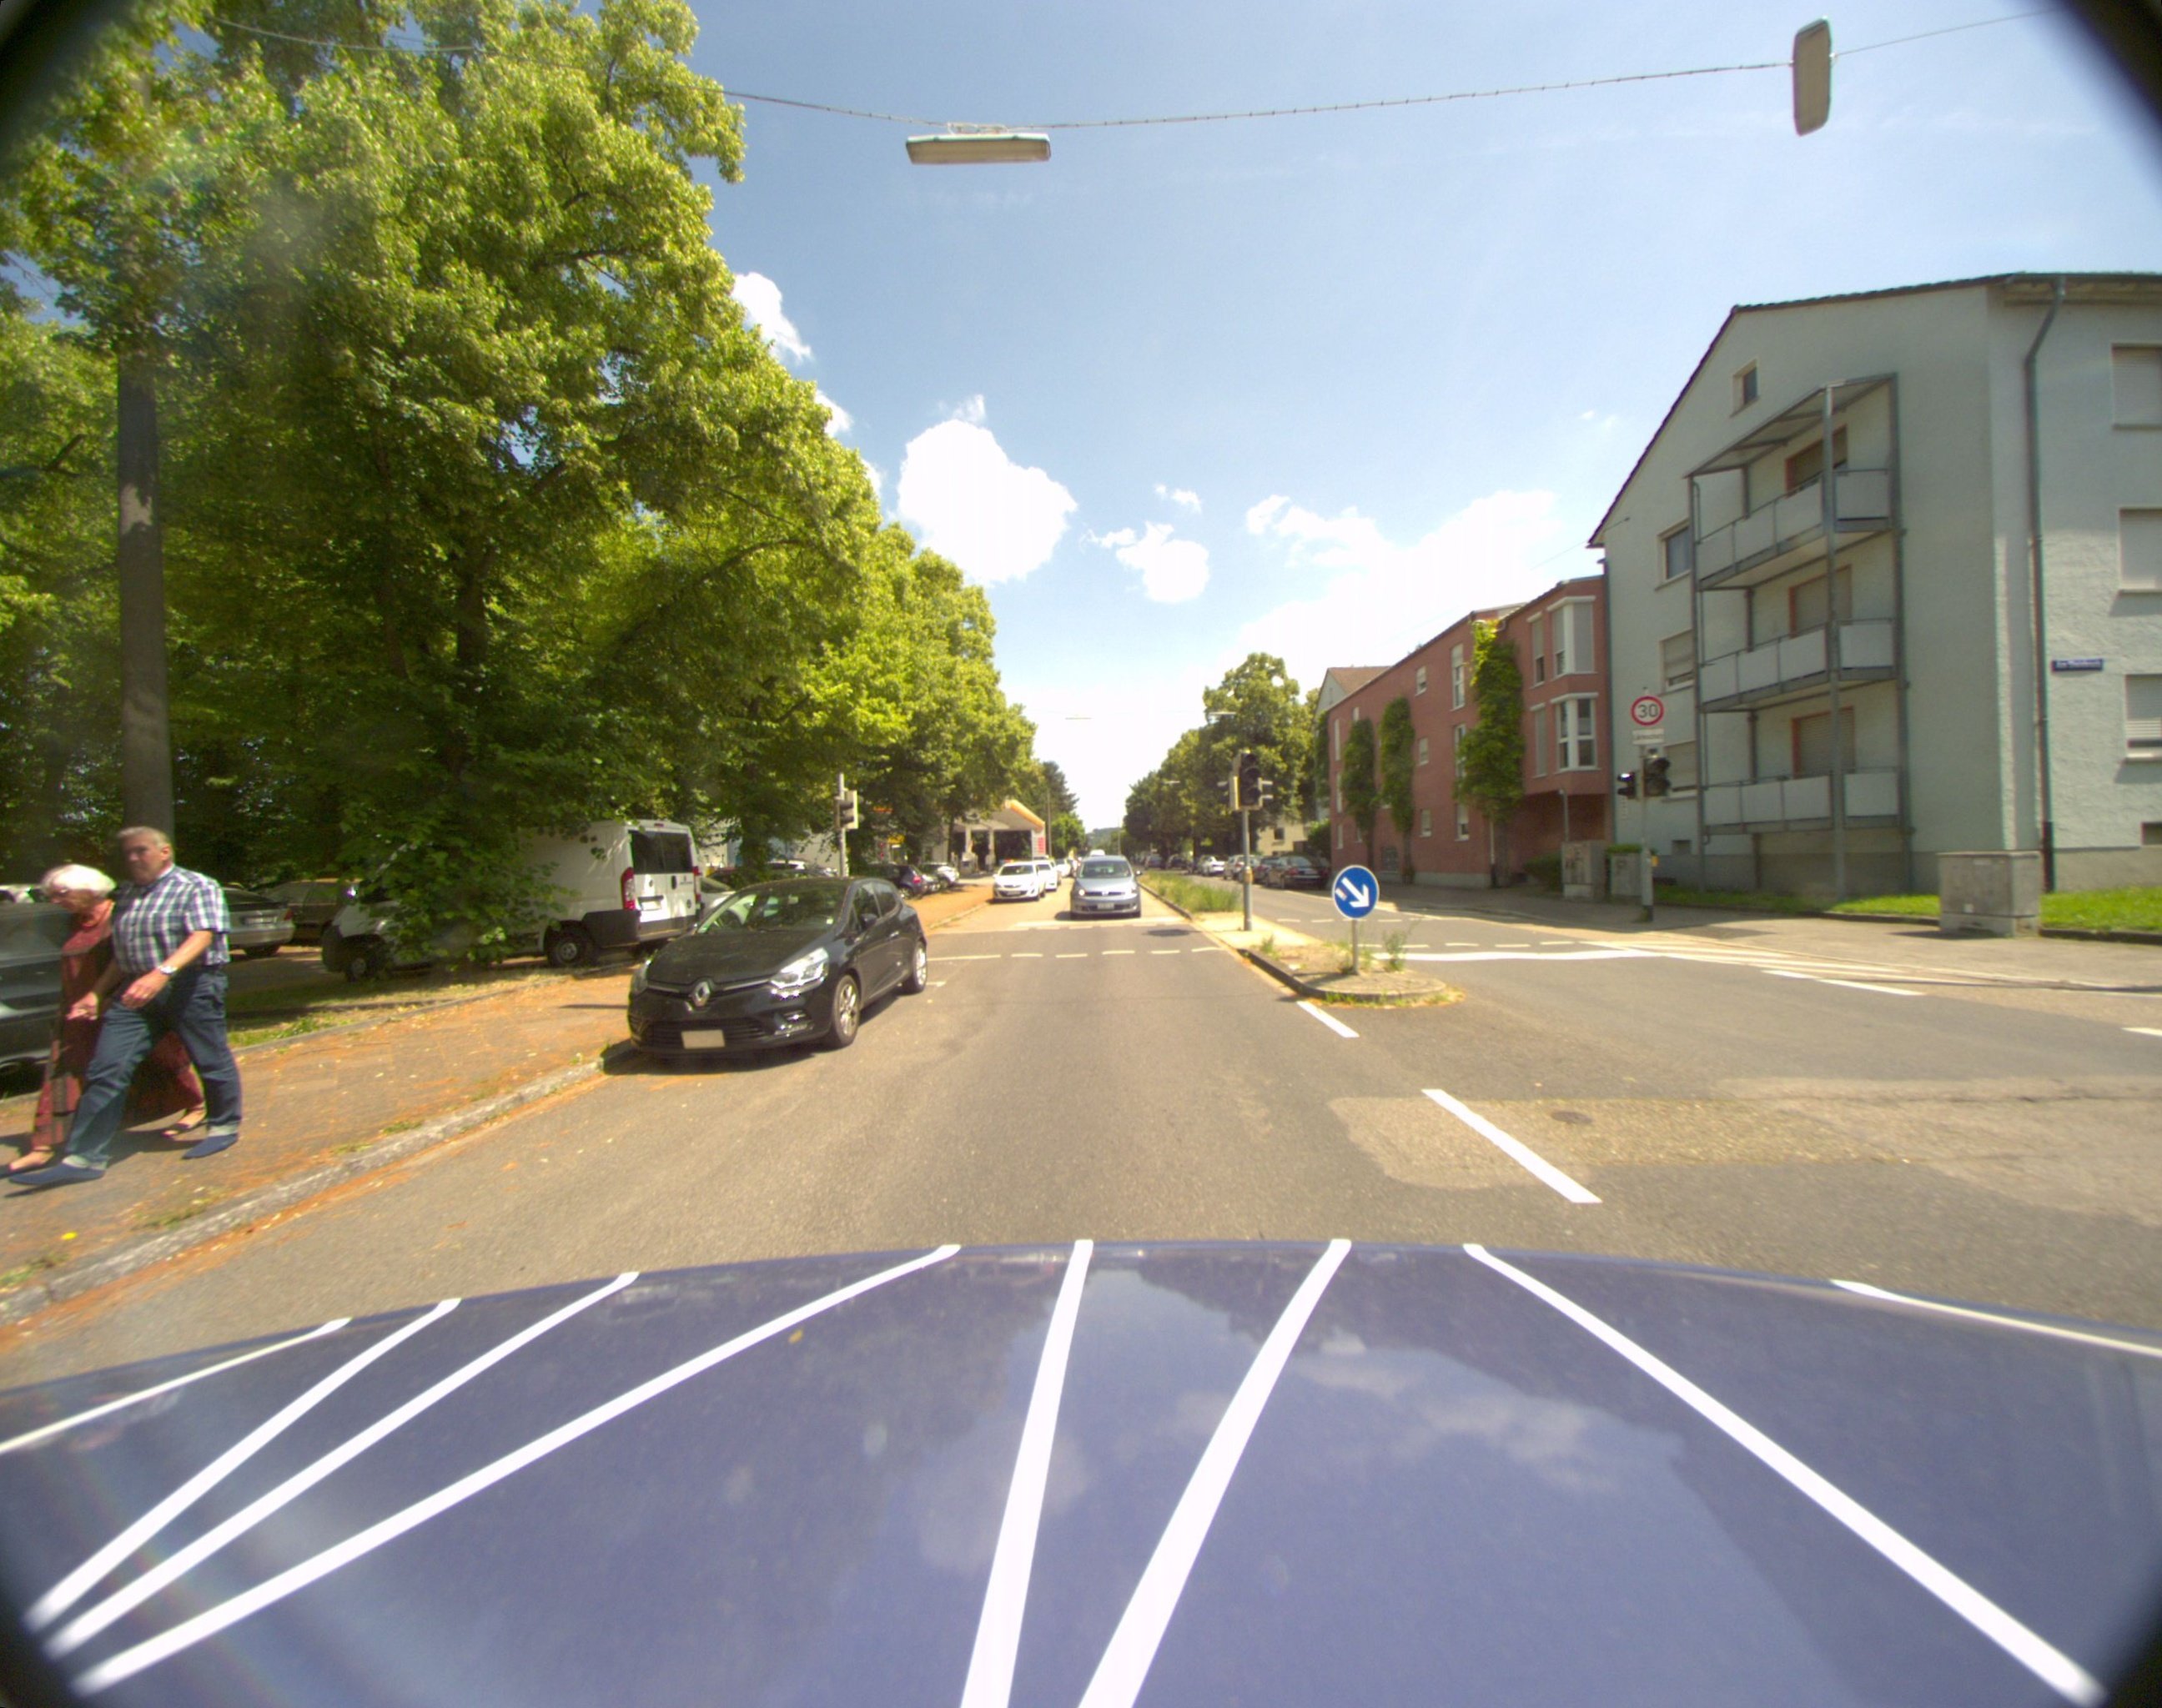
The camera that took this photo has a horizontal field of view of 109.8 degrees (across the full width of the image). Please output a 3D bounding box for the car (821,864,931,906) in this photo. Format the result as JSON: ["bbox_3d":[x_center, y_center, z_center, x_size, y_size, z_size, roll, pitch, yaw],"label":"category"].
[{"bbox_3d":[-7.829,1.178,29.330,3.848,1.350,1.629,-3,0,-7],"label":"car"}]

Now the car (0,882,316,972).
[{"bbox_3d":[-17.426,1.338,14.443,3.996,1.464,1.805,-1,1,3],"label":"car"}]

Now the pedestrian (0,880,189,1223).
[{"bbox_3d":[-5.414,0.957,3.936,0.618,1.584,0.737,-3,1,1],"label":"pedestrian"}]

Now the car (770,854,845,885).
[{"bbox_3d":[-18.613,1.028,51.835,4.374,1.985,1.854,-1,0,-3],"label":"car"}]

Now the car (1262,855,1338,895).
[{"bbox_3d":[9.419,0.853,33.054,1.891,1.531,4.568,-2,0,-1],"label":"car"}]

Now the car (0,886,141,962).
[{"bbox_3d":[-23.293,1.495,16.482,3.806,1.456,1.738,-1,0,4],"label":"car"}]

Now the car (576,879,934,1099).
[{"bbox_3d":[-2.768,1.055,7.540,1.667,1.420,4.000,-2,0,2],"label":"car"}]

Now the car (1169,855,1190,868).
[{"bbox_3d":[10.611,0.799,81.917,1.757,1.325,3.608,-3,0,0],"label":"car"}]

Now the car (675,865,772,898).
[{"bbox_3d":[-17.109,1.306,36.476,3.808,1.456,1.737,-1,0,-3],"label":"car"}]

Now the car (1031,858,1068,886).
[{"bbox_3d":[-1.740,0.985,43.013,1.775,1.434,3.338,-2,0,2],"label":"car"}]

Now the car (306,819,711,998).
[{"bbox_3d":[-8.678,0.782,11.870,4.614,2.263,2.106,-4,0,2],"label":"car"}]

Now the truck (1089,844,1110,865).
[{"bbox_3d":[2.131,0.016,86.275,1.866,2.211,4.506,-2,0,6],"label":"truck"}]

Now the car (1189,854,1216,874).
[{"bbox_3d":[10.200,0.807,64.146,1.572,1.499,4.000,-3,0,0],"label":"car"}]

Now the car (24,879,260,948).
[{"bbox_3d":[-23.042,1.443,18.743,3.806,1.483,1.738,-1,0,3],"label":"car"}]

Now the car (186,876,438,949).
[{"bbox_3d":[-17.470,1.311,17.393,3.996,1.464,1.805,-1,1,3],"label":"car"}]

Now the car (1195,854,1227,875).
[{"bbox_3d":[10.048,0.786,58.981,1.752,1.499,4.000,-3,0,0],"label":"car"}]

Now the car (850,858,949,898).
[{"bbox_3d":[-7.902,1.042,33.192,3.763,1.526,1.631,-3,0,12],"label":"car"}]

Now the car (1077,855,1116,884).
[{"bbox_3d":[0.824,0.847,44.157,1.868,1.516,4.290,-2,0,-3],"label":"car"}]

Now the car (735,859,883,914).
[{"bbox_3d":[-8.603,1.023,24.264,4.078,1.485,1.636,-3,1,0],"label":"car"}]

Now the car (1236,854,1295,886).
[{"bbox_3d":[9.497,0.783,39.413,1.891,1.531,4.568,-2,0,-1],"label":"car"}]

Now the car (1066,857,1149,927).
[{"bbox_3d":[0.788,0.894,19.463,1.746,1.513,4.225,-2,0,7],"label":"car"}]

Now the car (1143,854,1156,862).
[{"bbox_3d":[11.215,0.660,125.336,1.757,1.325,3.608,-3,0,0],"label":"car"}]

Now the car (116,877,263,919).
[{"bbox_3d":[-33.224,1.626,28.364,3.805,1.403,1.739,-1,0,7],"label":"car"}]

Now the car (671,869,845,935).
[{"bbox_3d":[-8.966,1.323,21.324,4.078,1.485,1.636,-4,1,0],"label":"car"}]

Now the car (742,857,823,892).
[{"bbox_3d":[-16.669,1.101,42.569,3.808,1.840,1.932,-1,0,-3],"label":"car"}]

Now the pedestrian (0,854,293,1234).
[{"bbox_3d":[-4.813,0.892,3.919,0.618,1.754,0.737,-3,1,1],"label":"pedestrian"}]

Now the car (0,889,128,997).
[{"bbox_3d":[-17.475,1.343,11.472,3.996,1.464,1.805,-1,1,3],"label":"car"}]

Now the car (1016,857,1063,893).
[{"bbox_3d":[-1.937,0.977,36.812,1.867,1.516,4.208,-2,0,2],"label":"car"}]

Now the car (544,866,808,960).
[{"bbox_3d":[-8.122,1.152,15.555,4.336,1.485,1.809,-4,0,0],"label":"car"}]

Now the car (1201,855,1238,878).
[{"bbox_3d":[9.526,0.842,52.470,1.752,1.433,4.000,-3,0,0],"label":"car"}]

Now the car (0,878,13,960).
[{"bbox_3d":[-22.812,1.281,14.062,3.806,1.579,1.738,-1,0,4],"label":"car"}]

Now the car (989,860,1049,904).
[{"bbox_3d":[-2.299,1.031,29.264,1.721,1.434,4.112,-3,0,2],"label":"car"}]

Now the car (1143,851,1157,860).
[{"bbox_3d":[10.894,0.219,120.322,1.757,1.325,3.608,-3,0,0],"label":"car"}]

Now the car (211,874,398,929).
[{"bbox_3d":[-22.677,1.359,22.270,3.806,1.456,1.738,-1,0,4],"label":"car"}]

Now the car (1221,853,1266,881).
[{"bbox_3d":[9.683,0.761,45.535,1.752,1.499,4.000,-3,0,0],"label":"car"}]

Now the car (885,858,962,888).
[{"bbox_3d":[-8.488,1.017,41.239,3.762,1.518,1.853,-1,0,-2],"label":"car"}]

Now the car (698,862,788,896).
[{"bbox_3d":[-17.268,1.272,38.915,3.808,1.574,1.737,-1,0,-4],"label":"car"}]

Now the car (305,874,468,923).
[{"bbox_3d":[-22.580,1.424,24.801,3.806,1.456,1.738,-1,0,3],"label":"car"}]

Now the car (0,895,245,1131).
[{"bbox_3d":[-9.076,1.201,5.581,3.996,1.464,1.717,-4,1,3],"label":"car"}]

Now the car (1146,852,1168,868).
[{"bbox_3d":[7.713,0.600,76.963,1.752,1.499,4.000,-3,0,0],"label":"car"}]
